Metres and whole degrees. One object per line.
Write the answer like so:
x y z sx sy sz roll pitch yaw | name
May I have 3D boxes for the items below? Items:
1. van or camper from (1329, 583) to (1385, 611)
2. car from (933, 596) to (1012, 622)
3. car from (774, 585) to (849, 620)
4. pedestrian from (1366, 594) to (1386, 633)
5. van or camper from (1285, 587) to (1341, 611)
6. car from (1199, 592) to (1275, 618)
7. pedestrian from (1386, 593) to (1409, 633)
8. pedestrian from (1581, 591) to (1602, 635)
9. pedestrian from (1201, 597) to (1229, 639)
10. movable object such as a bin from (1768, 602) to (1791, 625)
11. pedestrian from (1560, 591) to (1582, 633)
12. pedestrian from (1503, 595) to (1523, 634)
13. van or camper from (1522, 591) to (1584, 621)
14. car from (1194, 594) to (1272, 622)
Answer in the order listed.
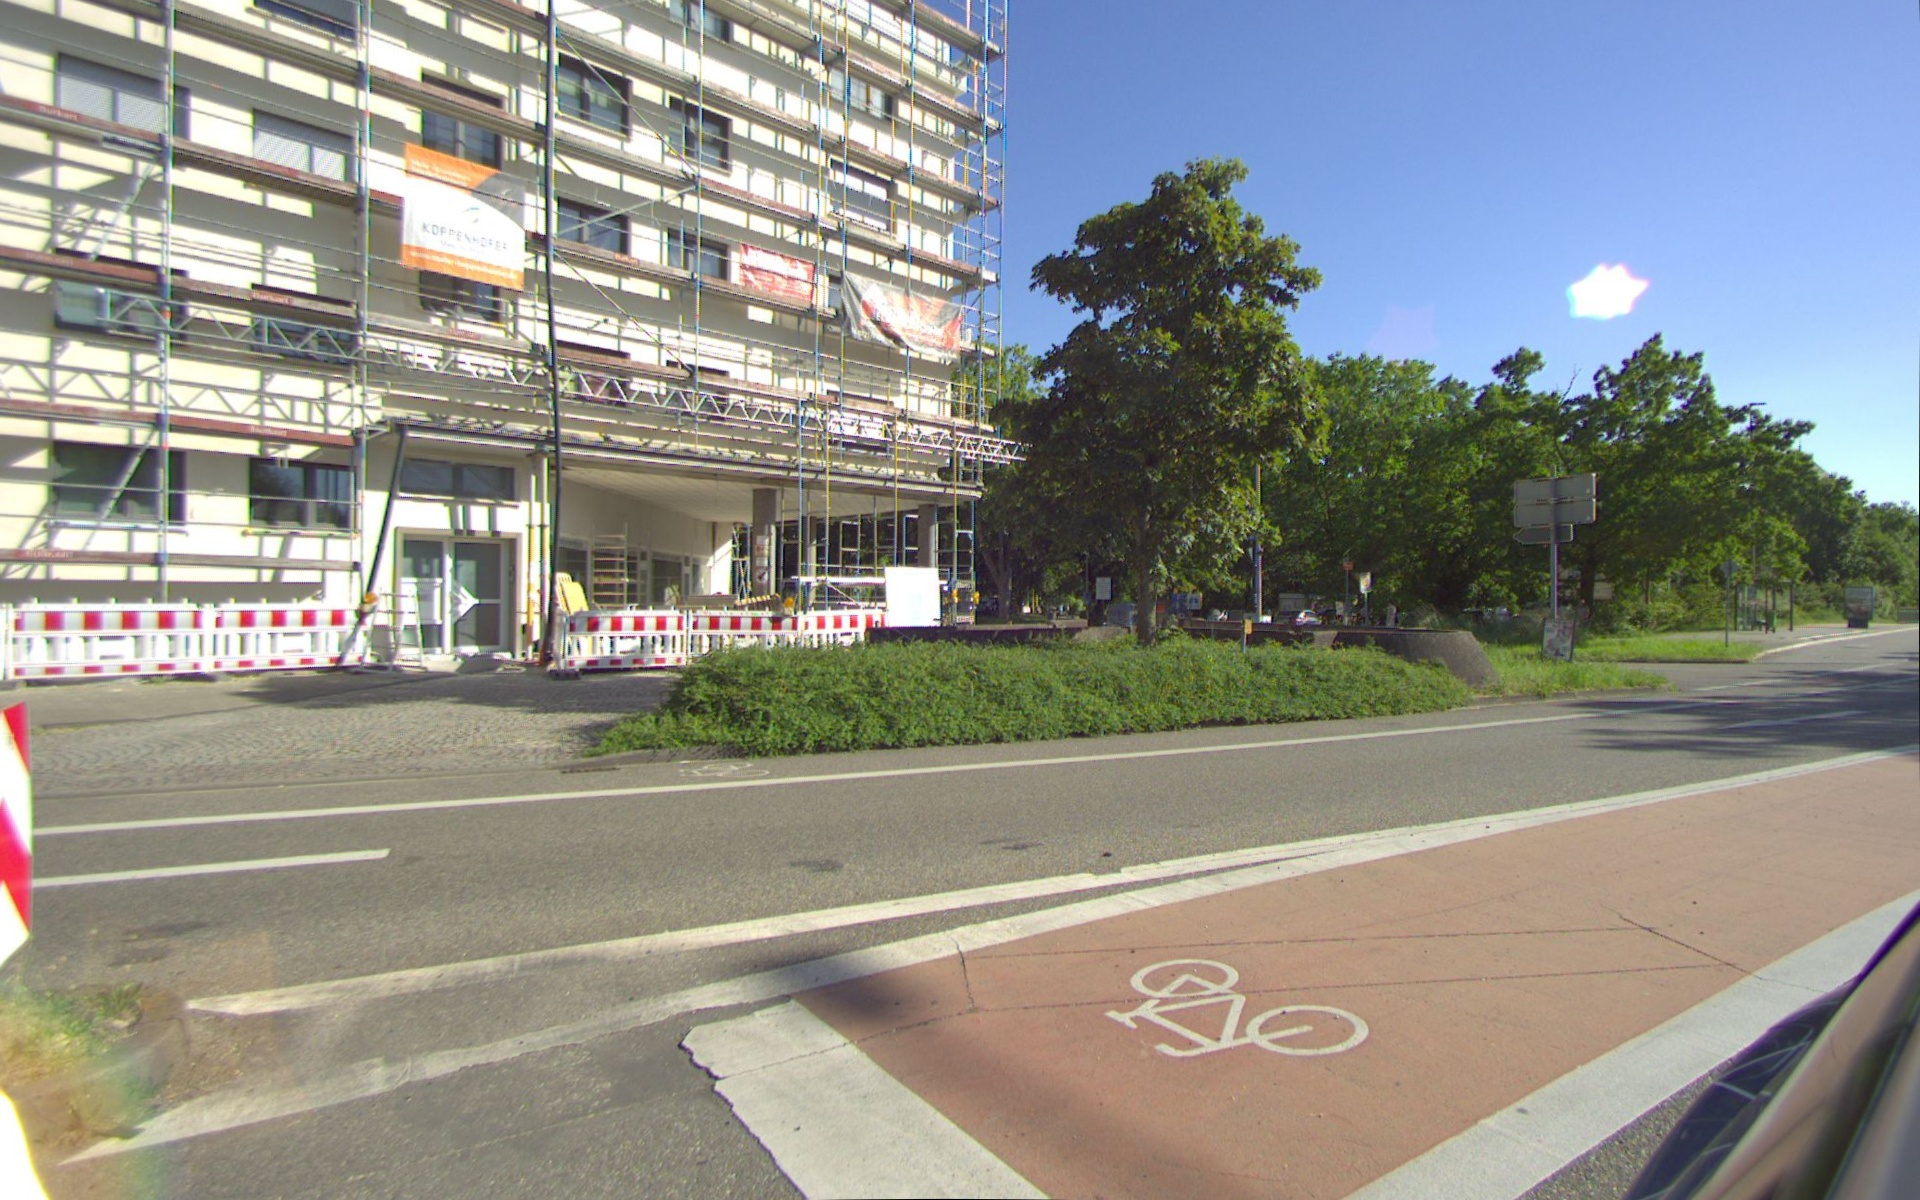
32.249 -0.237 82.119 2.450 2.186 5.244 0 0 43 | van or camper
0.692 0.483 55.582 3.923 1.314 2.000 -1 0 -33 | car
-9.399 0.132 64.052 4.272 2.099 1.998 0 0 -38 | car
17.679 0.557 42.964 0.597 1.640 0.558 -2 -1 44 | pedestrian
29.573 -0.065 84.753 2.451 1.937 5.241 1 0 45 | van or camper
14.988 0.241 54.815 3.639 1.290 1.598 0 2 44 | car
18.315 0.542 42.336 0.703 1.640 0.558 -2 -1 44 | pedestrian
25.050 0.506 40.164 0.403 1.721 0.603 0 0 -41 | pedestrian
9.378 0.665 37.211 0.649 1.516 0.895 0 0 41 | pedestrian
36.734 0.602 45.350 0.568 1.043 0.728 0 0 -41 | movable object such as a bin
24.338 0.458 40.312 0.542 1.655 0.623 0 0 -40 | pedestrian
22.205 0.568 40.617 0.602 1.537 0.529 0 0 -38 | pedestrian
40.241 0.403 68.604 2.451 1.937 5.241 1 0 45 | van or camper
13.965 0.387 51.869 3.576 1.331 1.598 0 2 44 | car
